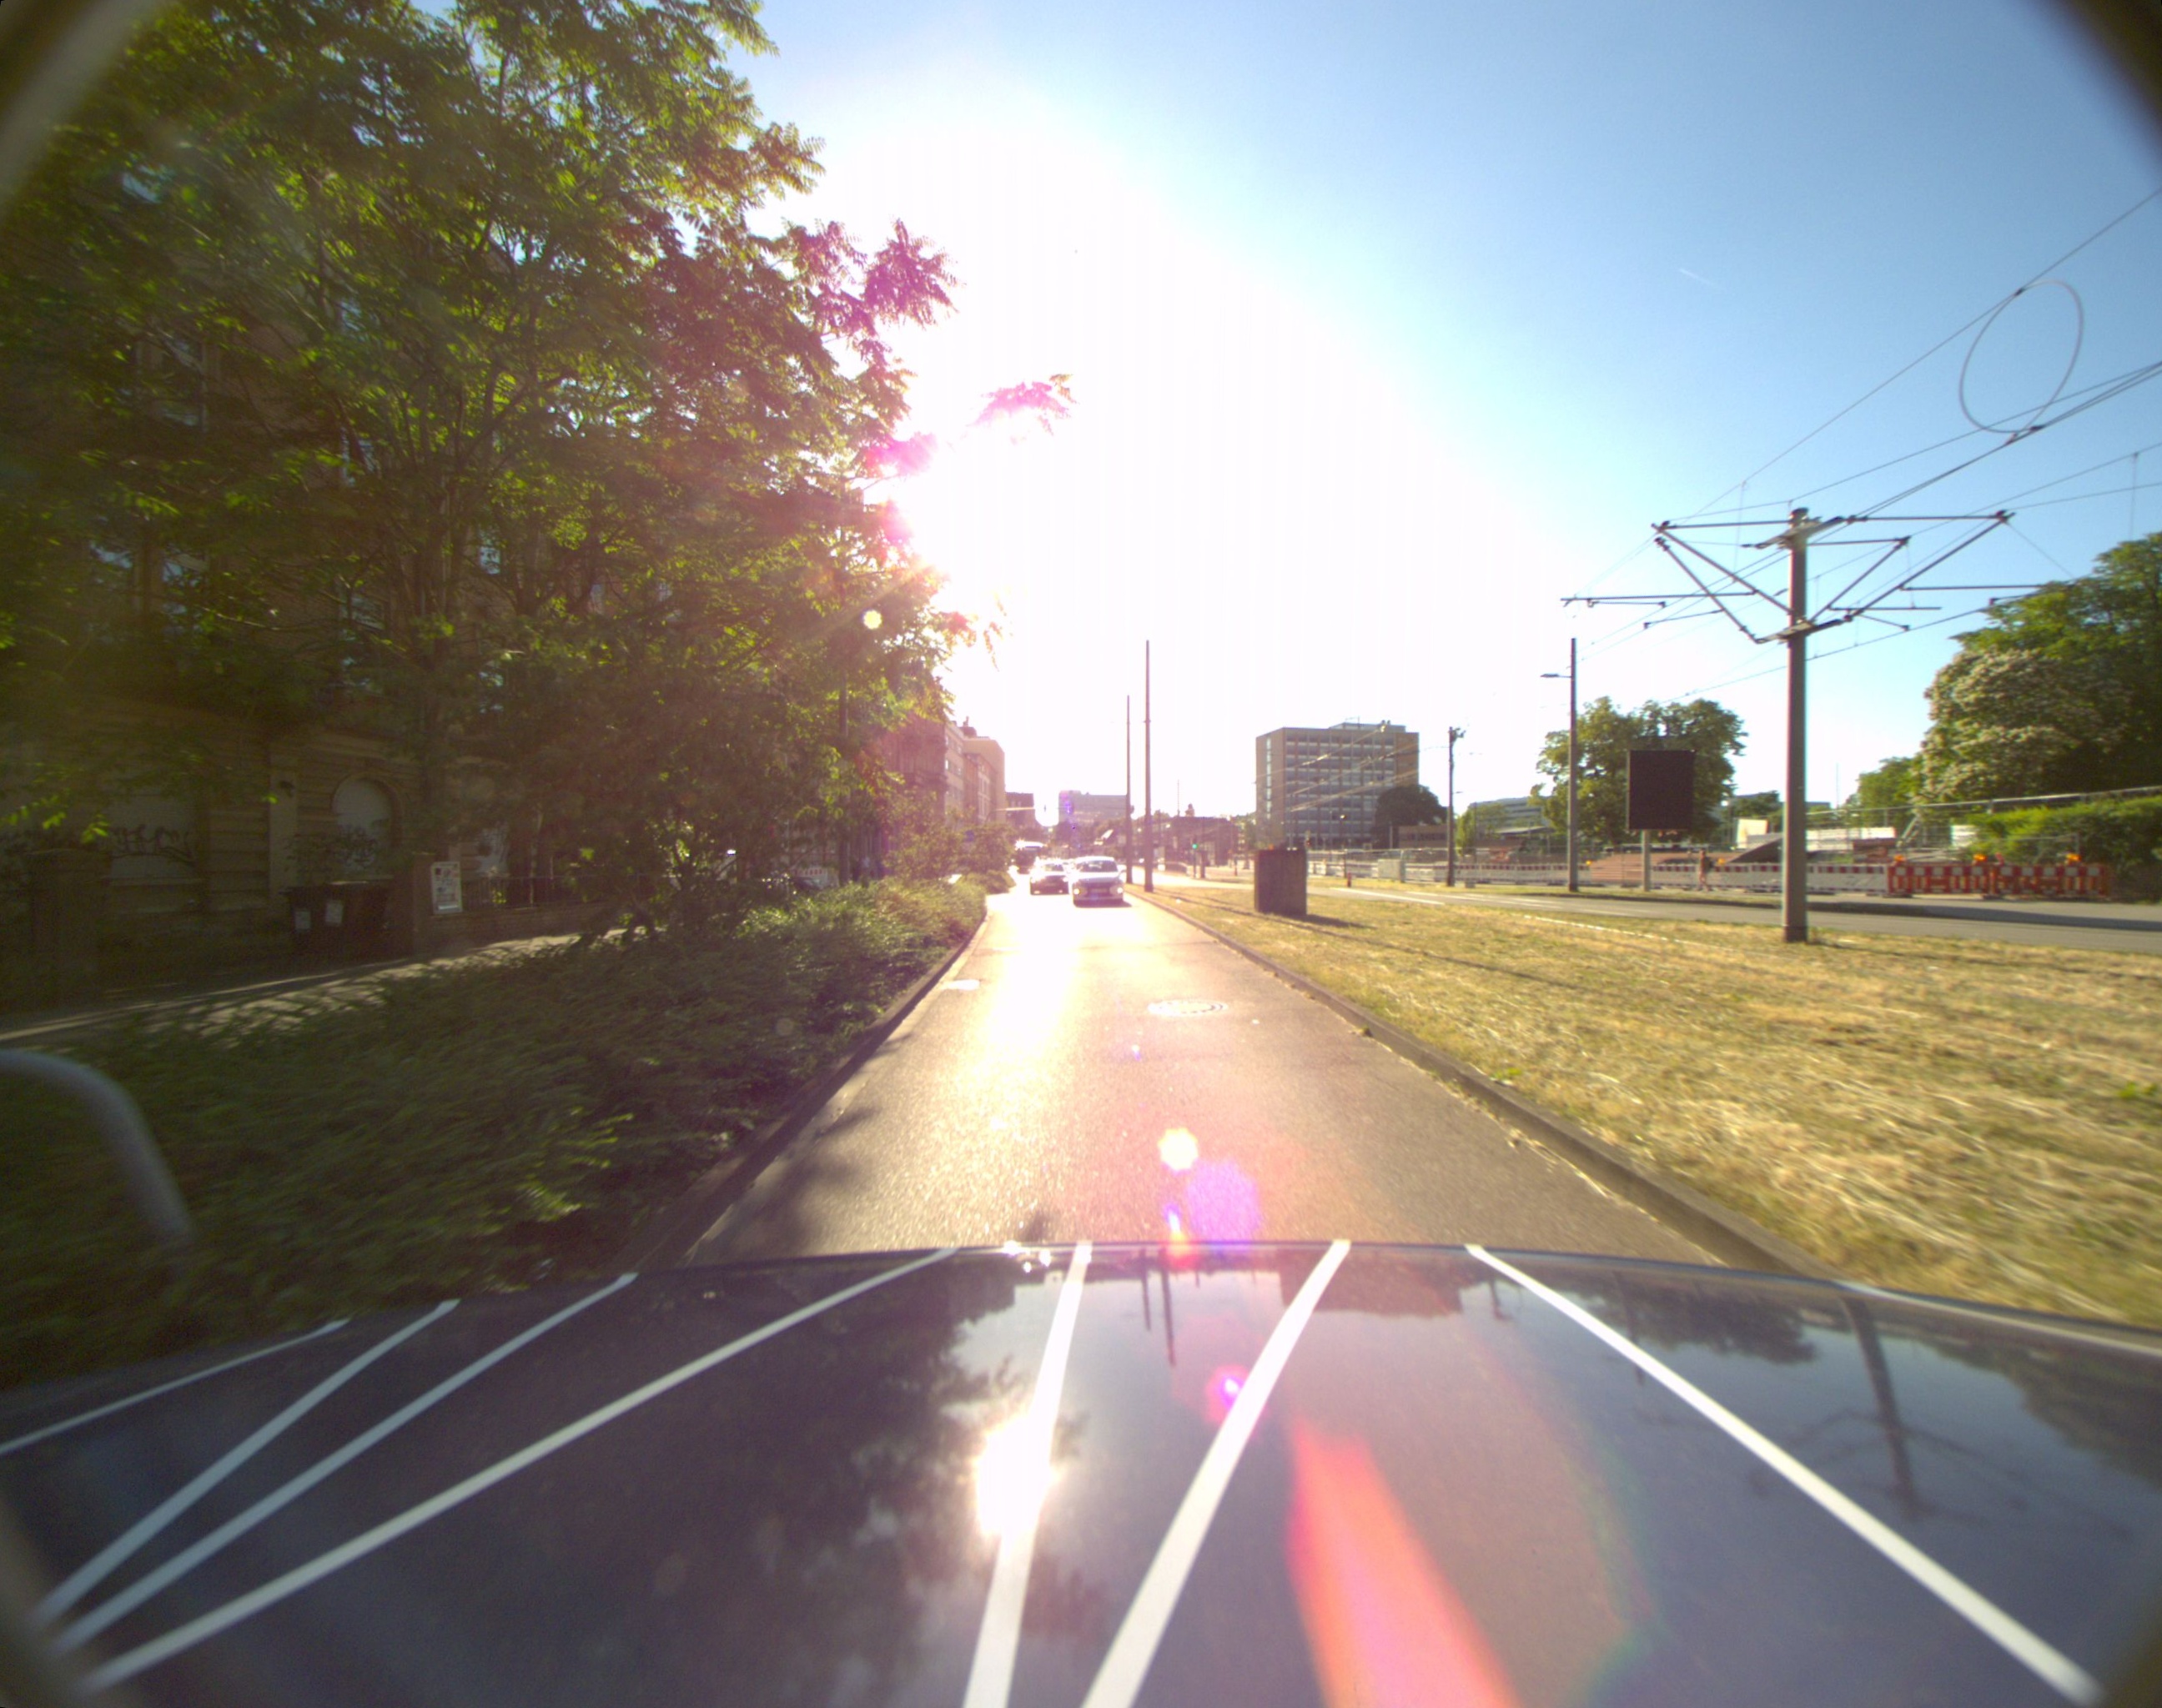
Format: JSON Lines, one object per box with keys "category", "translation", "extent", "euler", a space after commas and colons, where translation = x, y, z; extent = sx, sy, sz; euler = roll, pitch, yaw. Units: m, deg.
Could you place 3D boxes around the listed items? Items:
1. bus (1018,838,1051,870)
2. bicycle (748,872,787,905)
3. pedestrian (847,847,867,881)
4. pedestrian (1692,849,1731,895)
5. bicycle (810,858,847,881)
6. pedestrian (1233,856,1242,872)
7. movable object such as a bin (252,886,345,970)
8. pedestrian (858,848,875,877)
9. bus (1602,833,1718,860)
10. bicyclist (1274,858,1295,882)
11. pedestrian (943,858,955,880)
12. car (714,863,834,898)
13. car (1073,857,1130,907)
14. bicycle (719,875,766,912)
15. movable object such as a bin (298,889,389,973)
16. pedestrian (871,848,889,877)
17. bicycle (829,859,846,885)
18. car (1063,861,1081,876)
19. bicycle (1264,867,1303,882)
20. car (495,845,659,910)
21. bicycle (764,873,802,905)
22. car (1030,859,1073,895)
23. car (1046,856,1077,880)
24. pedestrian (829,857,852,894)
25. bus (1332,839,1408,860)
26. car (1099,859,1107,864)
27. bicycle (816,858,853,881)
{"category": "bus", "translation": [-5.008, 0.018, 83.557], "extent": [2.722, 3.162, 12.541], "euler": [0, 0, 1]}
{"category": "bicycle", "translation": [-10.302, 1.152, 25.031], "extent": [0.519, 1.041, 1.821], "euler": [0, -3, 0]}
{"category": "pedestrian", "translation": [-13.074, 0.573, 44.356], "extent": [0.824, 1.919, 1.137], "euler": [-1, 0, 1]}
{"category": "pedestrian", "translation": [24.642, 0.706, 29.707], "extent": [0.730, 1.762, 0.863], "euler": [0, -2, -2]}
{"category": "bicycle", "translation": [-13.830, 0.874, 41.685], "extent": [1.890, 1.232, 0.490], "euler": [0, 2, -12]}
{"category": "pedestrian", "translation": [18.329, 1.196, 88.958], "extent": [0.804, 1.757, 1.180], "euler": [0, -2, 1]}
{"category": "movable object such as a bin", "translation": [-10.841, 1.014, 10.542], "extent": [0.598, 1.054, 0.652], "euler": [4, 2, 1]}
{"category": "pedestrian", "translation": [-14.285, 0.581, 50.635], "extent": [0.824, 1.919, 1.137], "euler": [-1, 0, 1]}
{"category": "bus", "translation": [81.828, -1.015, 107.707], "extent": [12.626, 3.174, 3.259], "euler": [-2, -4, 44]}
{"category": "bicyclist", "translation": [16.072, 1.273, 60.020], "extent": [1.318, 1.797, 0.966], "euler": [-1, -2, 0]}
{"category": "pedestrian", "translation": [-10.194, 1.126, 58.592], "extent": [0.704, 1.646, 1.137], "euler": [-1, 0, 0]}
{"category": "car", "translation": [-12.835, 1.113, 31.932], "extent": [4.261, 1.406, 1.813], "euler": [0, -2, 0]}
{"category": "car", "translation": [0.697, 0.869, 25.199], "extent": [1.720, 1.483, 3.871], "euler": [-1, 0, 2]}
{"category": "bicycle", "translation": [-9.243, 1.079, 20.790], "extent": [0.527, 0.982, 1.723], "euler": [0, -3, -1]}
{"category": "movable object such as a bin", "translation": [-10.217, 1.055, 10.546], "extent": [0.598, 1.054, 0.652], "euler": [4, 2, 1]}
{"category": "pedestrian", "translation": [-13.371, 0.554, 50.613], "extent": [0.824, 1.919, 1.137], "euler": [-1, 0, 1]}
{"category": "bicycle", "translation": [-12.282, 0.908, 38.371], "extent": [0.490, 1.232, 1.887], "euler": [0, 1, -8]}
{"category": "car", "translation": [-0.962, 1.495, 81.203], "extent": [1.783, 1.455, 3.915], "euler": [0, 0, 2]}
{"category": "bicycle", "translation": [16.008, 1.626, 60.019], "extent": [2.822, 1.090, 0.966], "euler": [-1, -2, 0]}
{"category": "car", "translation": [-17.730, 0.849, 26.871], "extent": [4.589, 2.111, 1.776], "euler": [-1, -2, -1]}
{"category": "bicycle", "translation": [-9.789, 1.154, 25.027], "extent": [0.519, 1.041, 1.821], "euler": [0, -3, 0]}
{"category": "car", "translation": [-1.239, 0.967, 33.404], "extent": [1.694, 1.380, 3.831], "euler": [-2, 1, -1]}
{"category": "car", "translation": [-1.271, 0.940, 48.837], "extent": [1.826, 1.379, 4.459], "euler": [2, -3, -1]}
{"category": "pedestrian", "translation": [-10.136, 0.913, 32.049], "extent": [0.701, 1.525, 0.663], "euler": [0, 1, 42]}
{"category": "bus", "translation": [51.813, -0.714, 136.513], "extent": [12.626, 3.174, 2.848], "euler": [-2, -4, 44]}
{"category": "car", "translation": [7.561, 2.604, 261.574], "extent": [1.757, 1.455, 4.016], "euler": [-1, -2, -12]}
{"category": "bicycle", "translation": [-13.708, 0.859, 42.301], "extent": [1.890, 1.232, 0.490], "euler": [0, 2, -12]}
